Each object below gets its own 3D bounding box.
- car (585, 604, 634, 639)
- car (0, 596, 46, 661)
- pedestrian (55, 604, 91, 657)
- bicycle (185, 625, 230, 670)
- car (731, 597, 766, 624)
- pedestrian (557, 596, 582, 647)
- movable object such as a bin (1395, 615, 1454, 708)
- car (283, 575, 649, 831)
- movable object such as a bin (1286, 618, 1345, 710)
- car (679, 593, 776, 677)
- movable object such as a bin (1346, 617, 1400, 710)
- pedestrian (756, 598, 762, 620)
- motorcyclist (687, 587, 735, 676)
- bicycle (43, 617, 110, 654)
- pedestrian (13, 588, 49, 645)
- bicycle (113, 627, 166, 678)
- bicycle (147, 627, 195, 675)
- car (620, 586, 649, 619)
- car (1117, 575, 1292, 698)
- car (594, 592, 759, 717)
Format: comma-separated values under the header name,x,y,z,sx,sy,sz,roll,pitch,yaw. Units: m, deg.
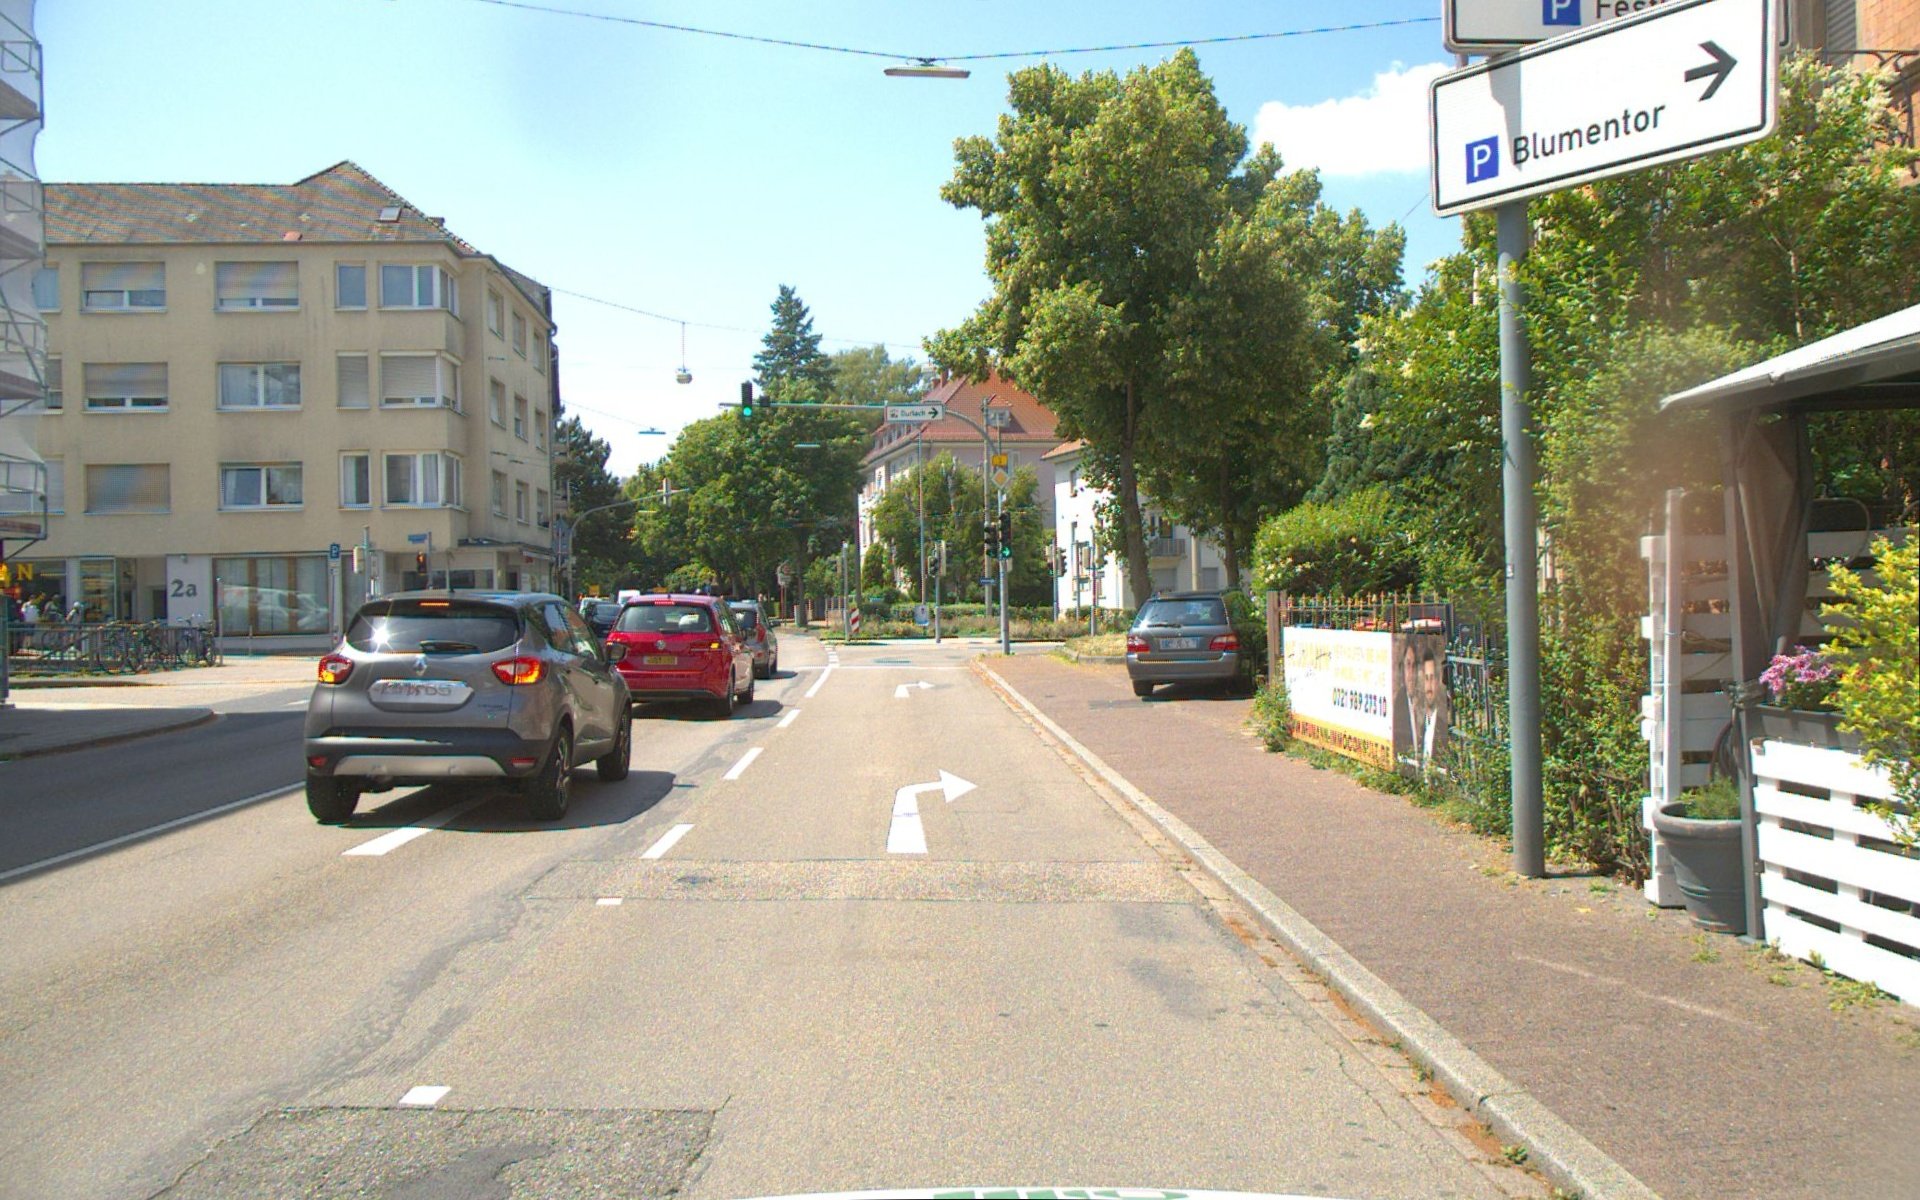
name,x,y,z,sx,sy,sz,roll,pitch,yaw
car,-15.963,0.999,75.255,1.961,1.546,3.983,0,-1,-16
car,-26.749,0.786,44.674,4.242,1.693,1.993,-1,0,36
pedestrian,-25.439,0.865,47.426,0.672,1.501,0.648,-1,0,-2
bicycle,-17.248,1.075,37.922,0.389,0.984,1.781,-1,0,-6
car,-14.808,0.724,115.592,1.960,1.839,3.984,0,0,-15
pedestrian,-15.298,0.829,64.839,0.919,1.965,0.973,-1,-1,-14
movable object such as a bin,5.591,0.731,19.933,0.563,1.090,0.706,-1,0,7
car,-3.610,0.670,12.836,1.718,1.660,3.999,0,0,-1
movable object such as a bin,4.334,0.770,20.174,0.635,1.090,0.637,-1,0,8
car,-4.671,0.675,33.677,1.764,1.585,4.032,-1,0,-6
movable object such as a bin,5.012,0.763,20.079,0.540,1.090,0.706,-1,0,7
pedestrian,-15.801,0.693,130.044,0.499,1.685,0.465,0,0,-10
motorcyclist,-4.228,0.523,28.136,0.697,1.471,1.018,-1,0,-4
bicycle,-26.393,1.056,49.424,1.703,1.044,0.498,-1,0,-4
pedestrian,-27.281,0.490,48.568,0.672,1.661,0.648,-1,0,-2
bicycle,-16.834,1.063,33.954,0.389,0.984,1.716,-1,0,-6
bicycle,-17.069,1.095,35.814,0.389,0.984,1.744,-1,0,-6
car,-27.846,0.258,141.155,2.178,2.544,7.531,-4,0,-12
car,3.854,0.484,25.310,1.796,1.575,5.160,-2,1,18
car,-3.858,0.701,23.125,1.763,1.585,4.035,0,0,-2
